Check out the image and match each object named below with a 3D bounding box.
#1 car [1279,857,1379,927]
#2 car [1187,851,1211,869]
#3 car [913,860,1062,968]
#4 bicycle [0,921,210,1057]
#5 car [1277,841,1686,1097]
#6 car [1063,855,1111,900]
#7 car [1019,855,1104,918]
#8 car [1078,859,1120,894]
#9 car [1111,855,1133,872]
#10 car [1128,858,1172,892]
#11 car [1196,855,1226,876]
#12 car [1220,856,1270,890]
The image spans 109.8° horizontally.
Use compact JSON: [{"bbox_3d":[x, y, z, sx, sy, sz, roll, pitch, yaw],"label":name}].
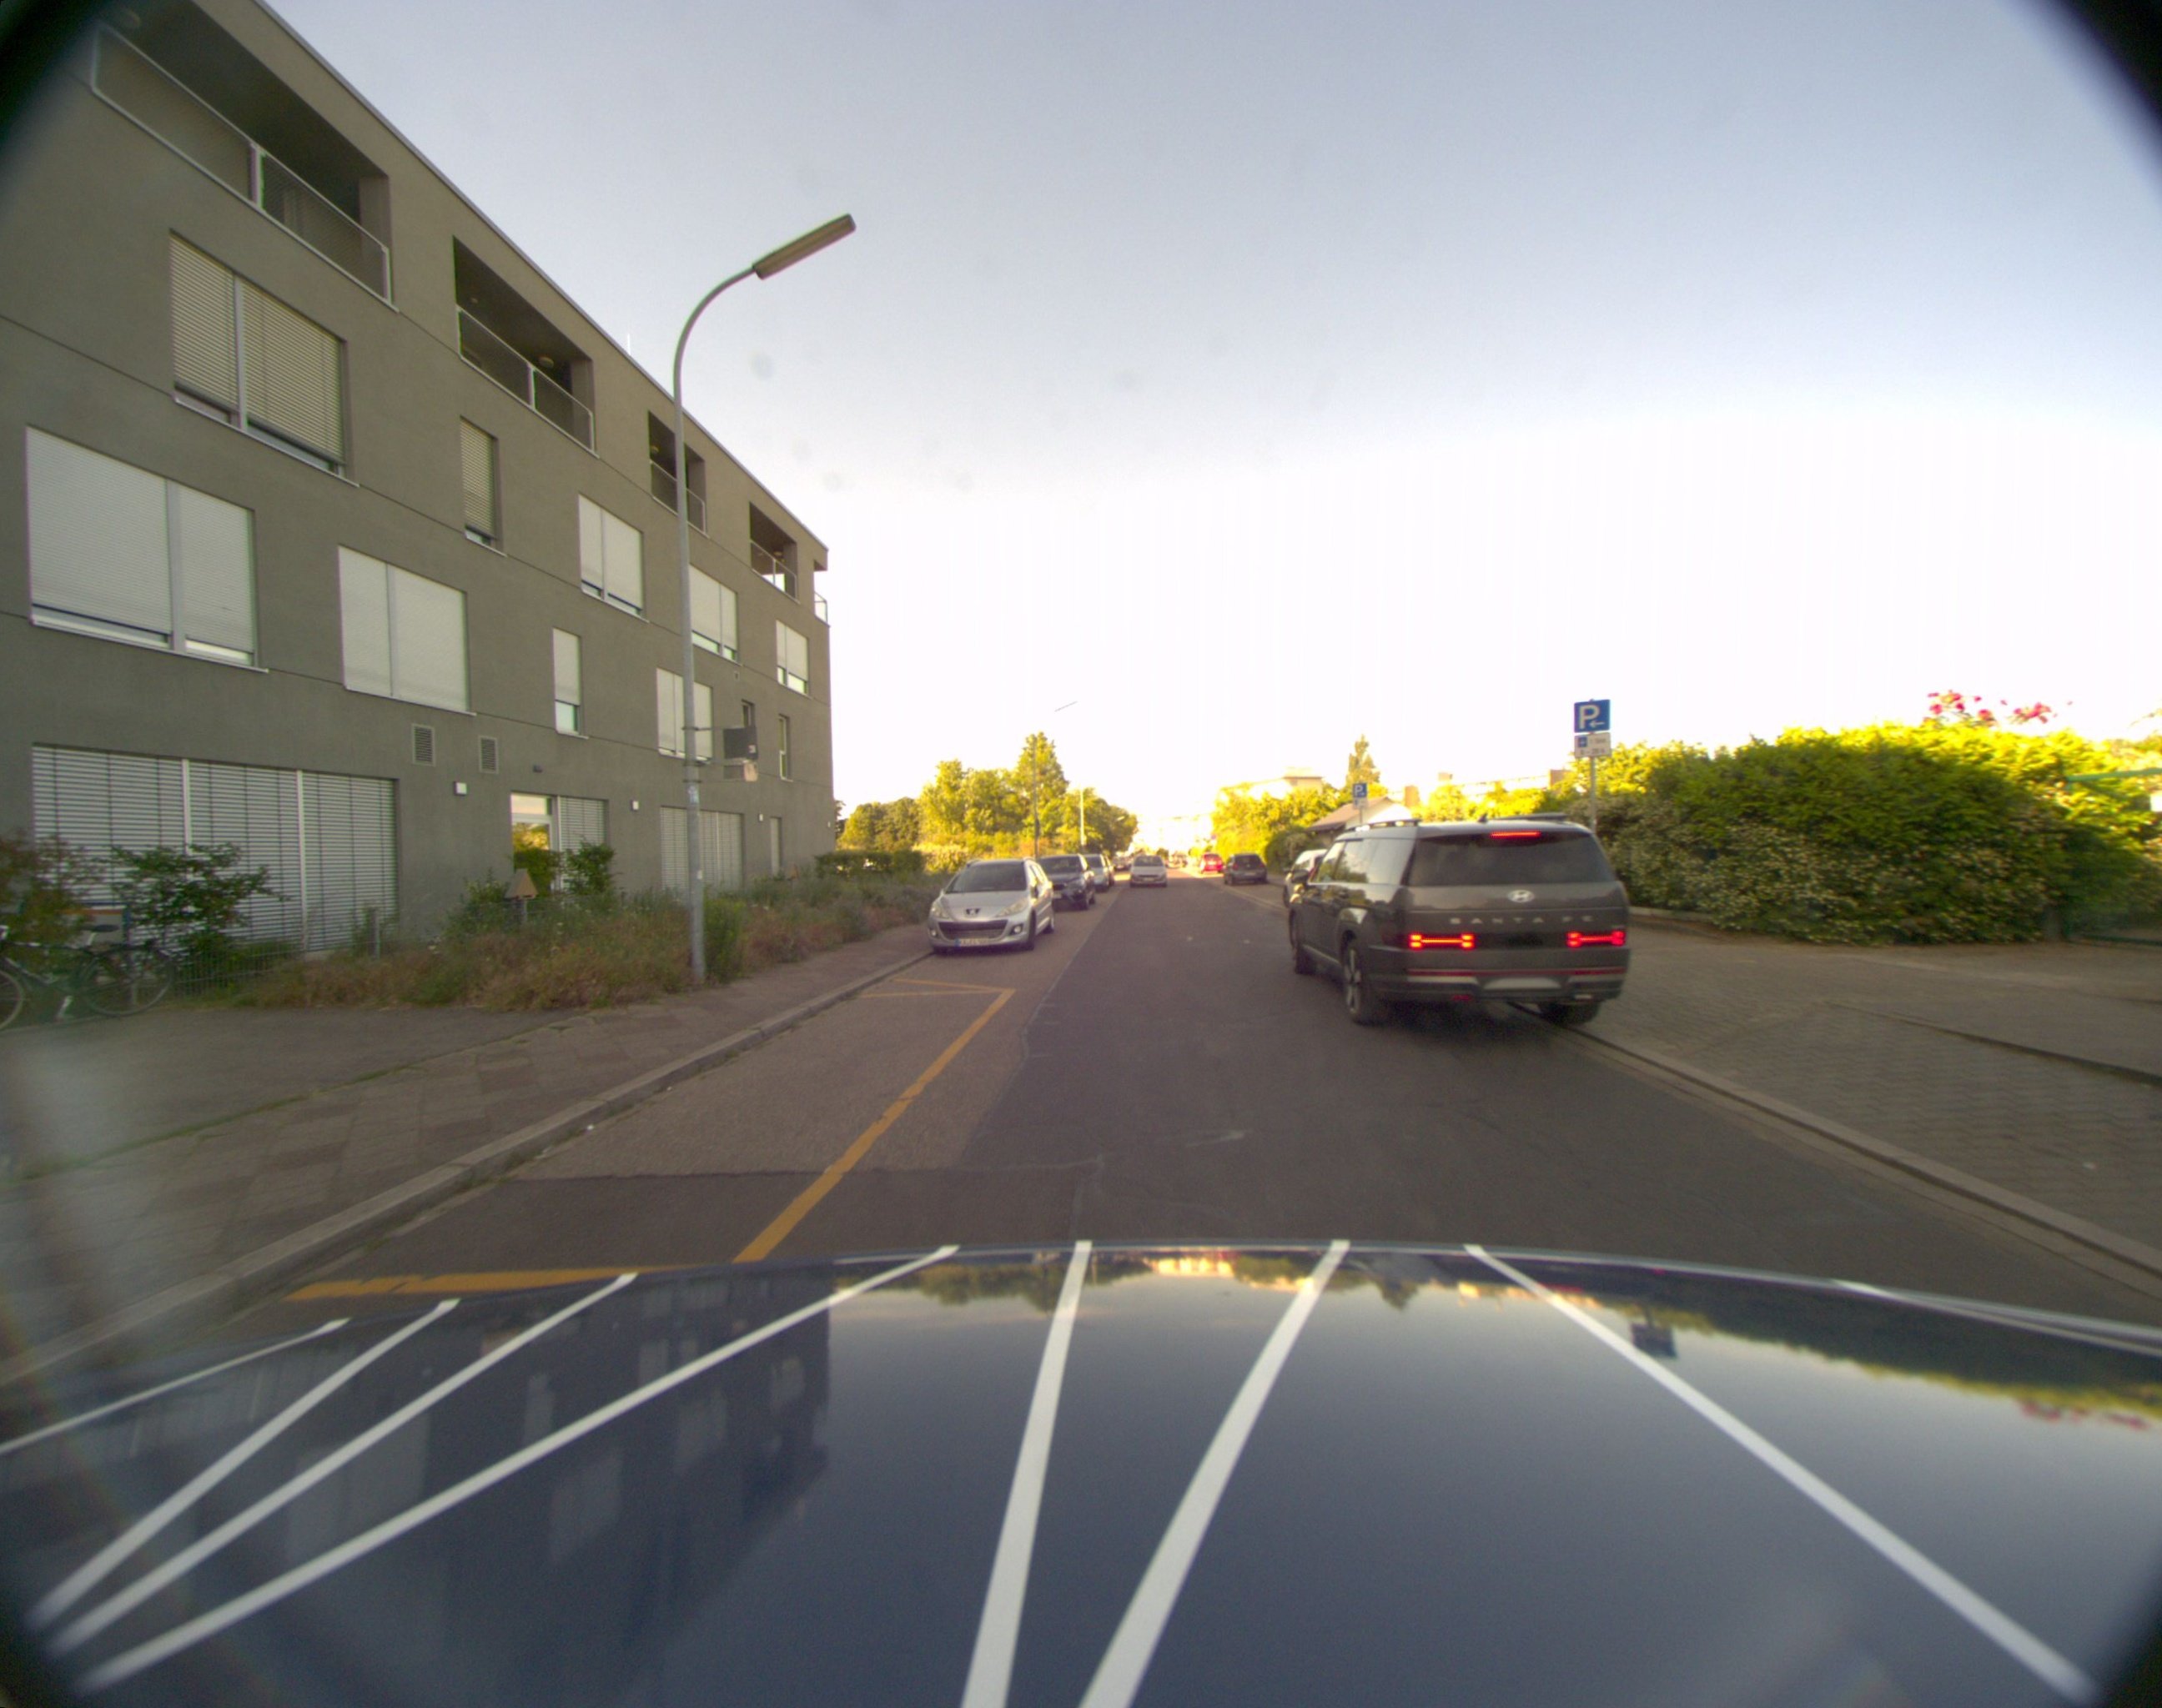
[{"bbox_3d":[5.942,0.848,18.568,1.531,1.479,3.403,-2,0,5],"label":"car"},{"bbox_3d":[9.891,0.488,63.896,1.699,1.361,3.912,-1,0,5],"label":"car"},{"bbox_3d":[-1.482,0.938,13.627,1.710,1.517,4.156,-3,0,6],"label":"car"},{"bbox_3d":[-9.583,1.243,7.106,0.553,1.055,1.843,-2,0,9],"label":"bicycle"},{"bbox_3d":[3.348,0.775,7.633,1.946,1.717,4.840,0,0,6],"label":"car"},{"bbox_3d":[0.321,0.965,32.962,1.710,1.695,4.351,-4,0,4],"label":"car"},{"bbox_3d":[-0.452,0.876,22.578,1.748,1.557,4.805,-3,0,7],"label":"car"},{"bbox_3d":[0.921,1.062,37.483,1.710,1.517,3.094,-4,0,6],"label":"car"},{"bbox_3d":[3.988,0.893,73.196,1.872,1.517,4.156,-2,0,6],"label":"car"},{"bbox_3d":[3.199,0.950,35.744,1.679,1.440,4.000,-1,0,0],"label":"car"},{"bbox_3d":[9.176,0.800,54.049,1.699,1.421,4.387,-1,0,5],"label":"car"},{"bbox_3d":[7.690,0.846,36.021,1.699,1.415,4.518,-3,0,5],"label":"car"}]
